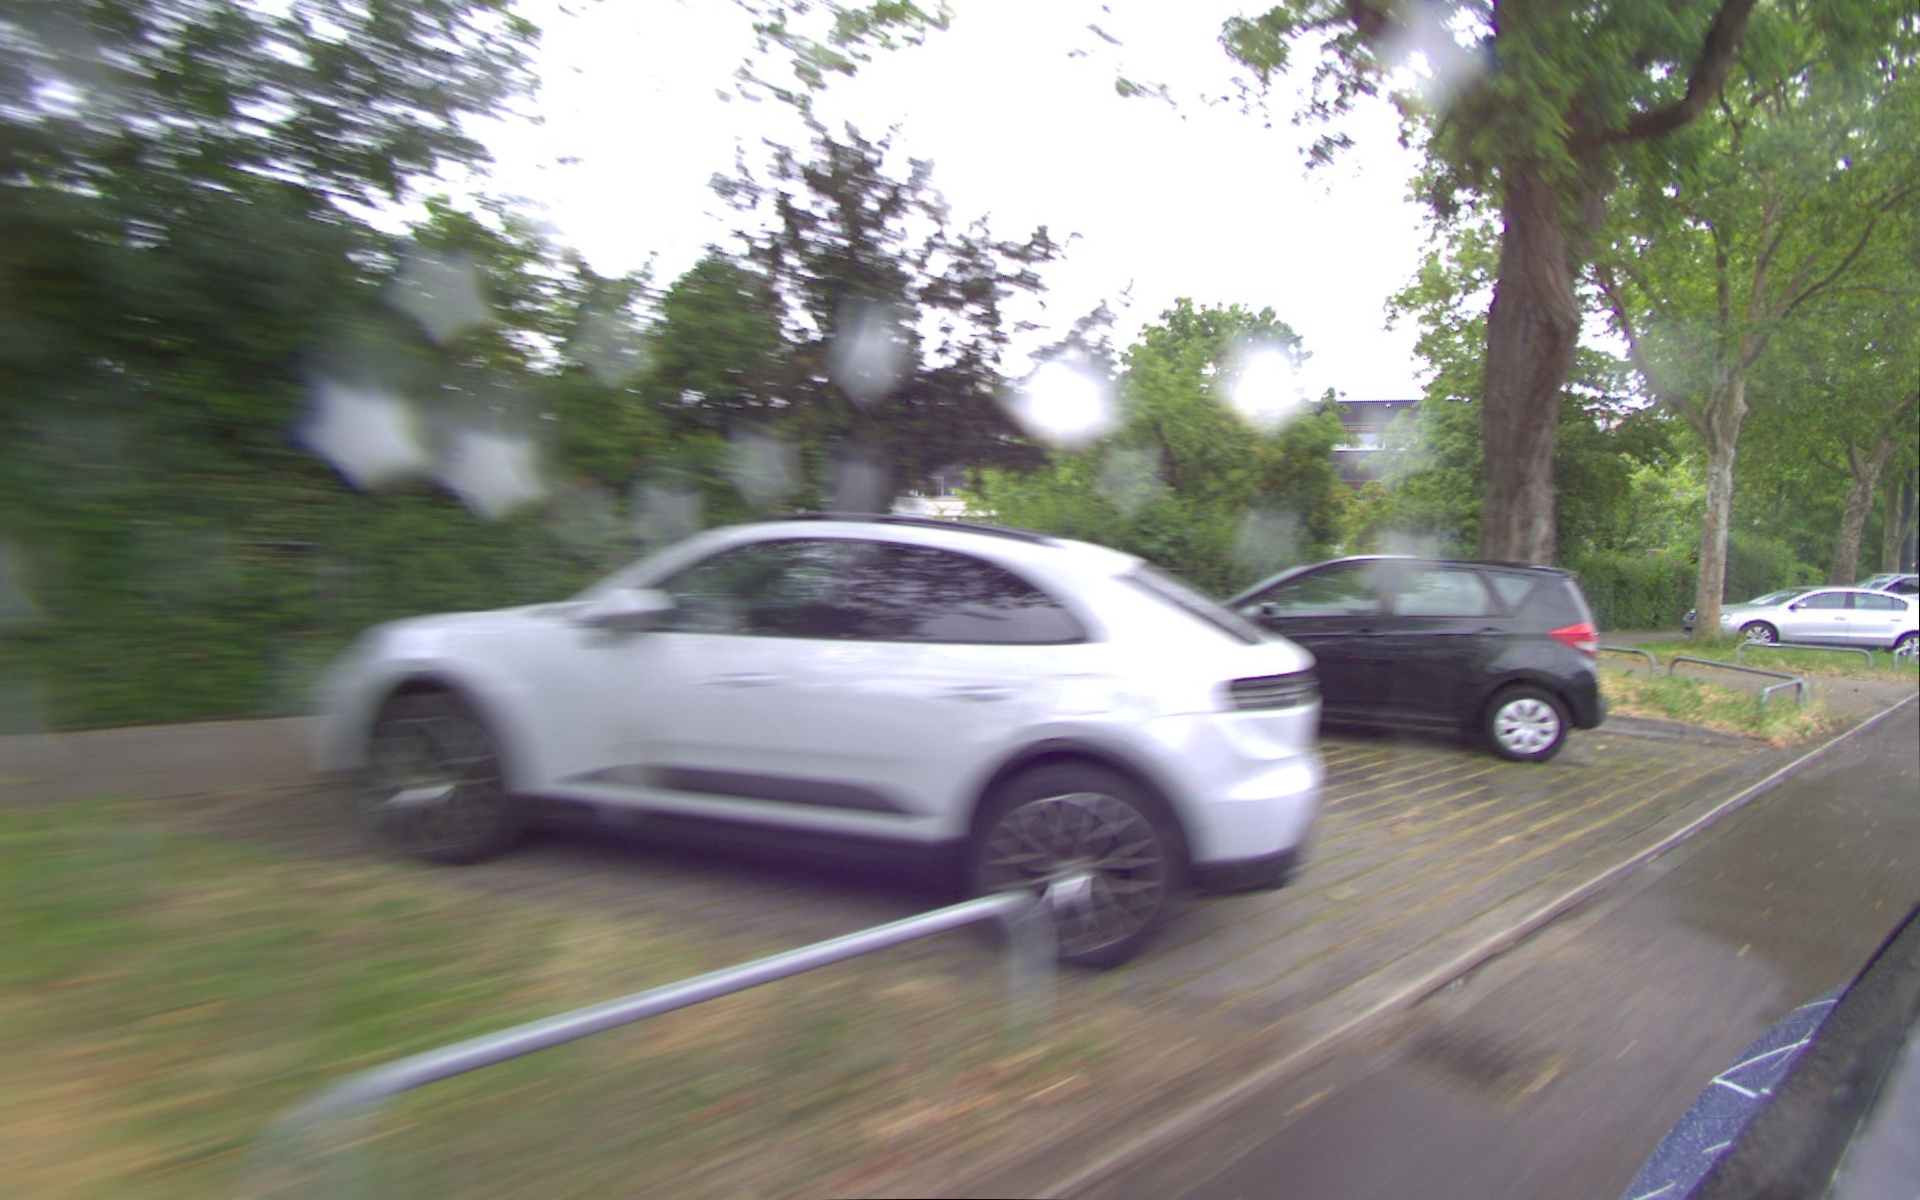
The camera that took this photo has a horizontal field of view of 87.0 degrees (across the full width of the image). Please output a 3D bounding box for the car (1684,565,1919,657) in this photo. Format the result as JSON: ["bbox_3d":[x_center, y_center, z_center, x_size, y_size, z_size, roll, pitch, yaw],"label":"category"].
[{"bbox_3d":[18.199,0.215,21.149,4.502,1.563,1.877,5,3,18],"label":"car"}]

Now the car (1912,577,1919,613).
[{"bbox_3d":[46.394,-0.119,46.113,3.985,1.661,1.650,2,3,12],"label":"car"}]

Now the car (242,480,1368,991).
[{"bbox_3d":[-0.719,0.360,4.947,4.704,1.688,1.987,2,2,14],"label":"car"}]

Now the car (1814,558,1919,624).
[{"bbox_3d":[31.996,-0.246,33.654,4.958,2.038,1.991,4,2,15],"label":"car"}]

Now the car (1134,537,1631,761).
[{"bbox_3d":[3.506,0.309,8.966,3.665,1.585,1.611,3,3,18],"label":"car"}]
